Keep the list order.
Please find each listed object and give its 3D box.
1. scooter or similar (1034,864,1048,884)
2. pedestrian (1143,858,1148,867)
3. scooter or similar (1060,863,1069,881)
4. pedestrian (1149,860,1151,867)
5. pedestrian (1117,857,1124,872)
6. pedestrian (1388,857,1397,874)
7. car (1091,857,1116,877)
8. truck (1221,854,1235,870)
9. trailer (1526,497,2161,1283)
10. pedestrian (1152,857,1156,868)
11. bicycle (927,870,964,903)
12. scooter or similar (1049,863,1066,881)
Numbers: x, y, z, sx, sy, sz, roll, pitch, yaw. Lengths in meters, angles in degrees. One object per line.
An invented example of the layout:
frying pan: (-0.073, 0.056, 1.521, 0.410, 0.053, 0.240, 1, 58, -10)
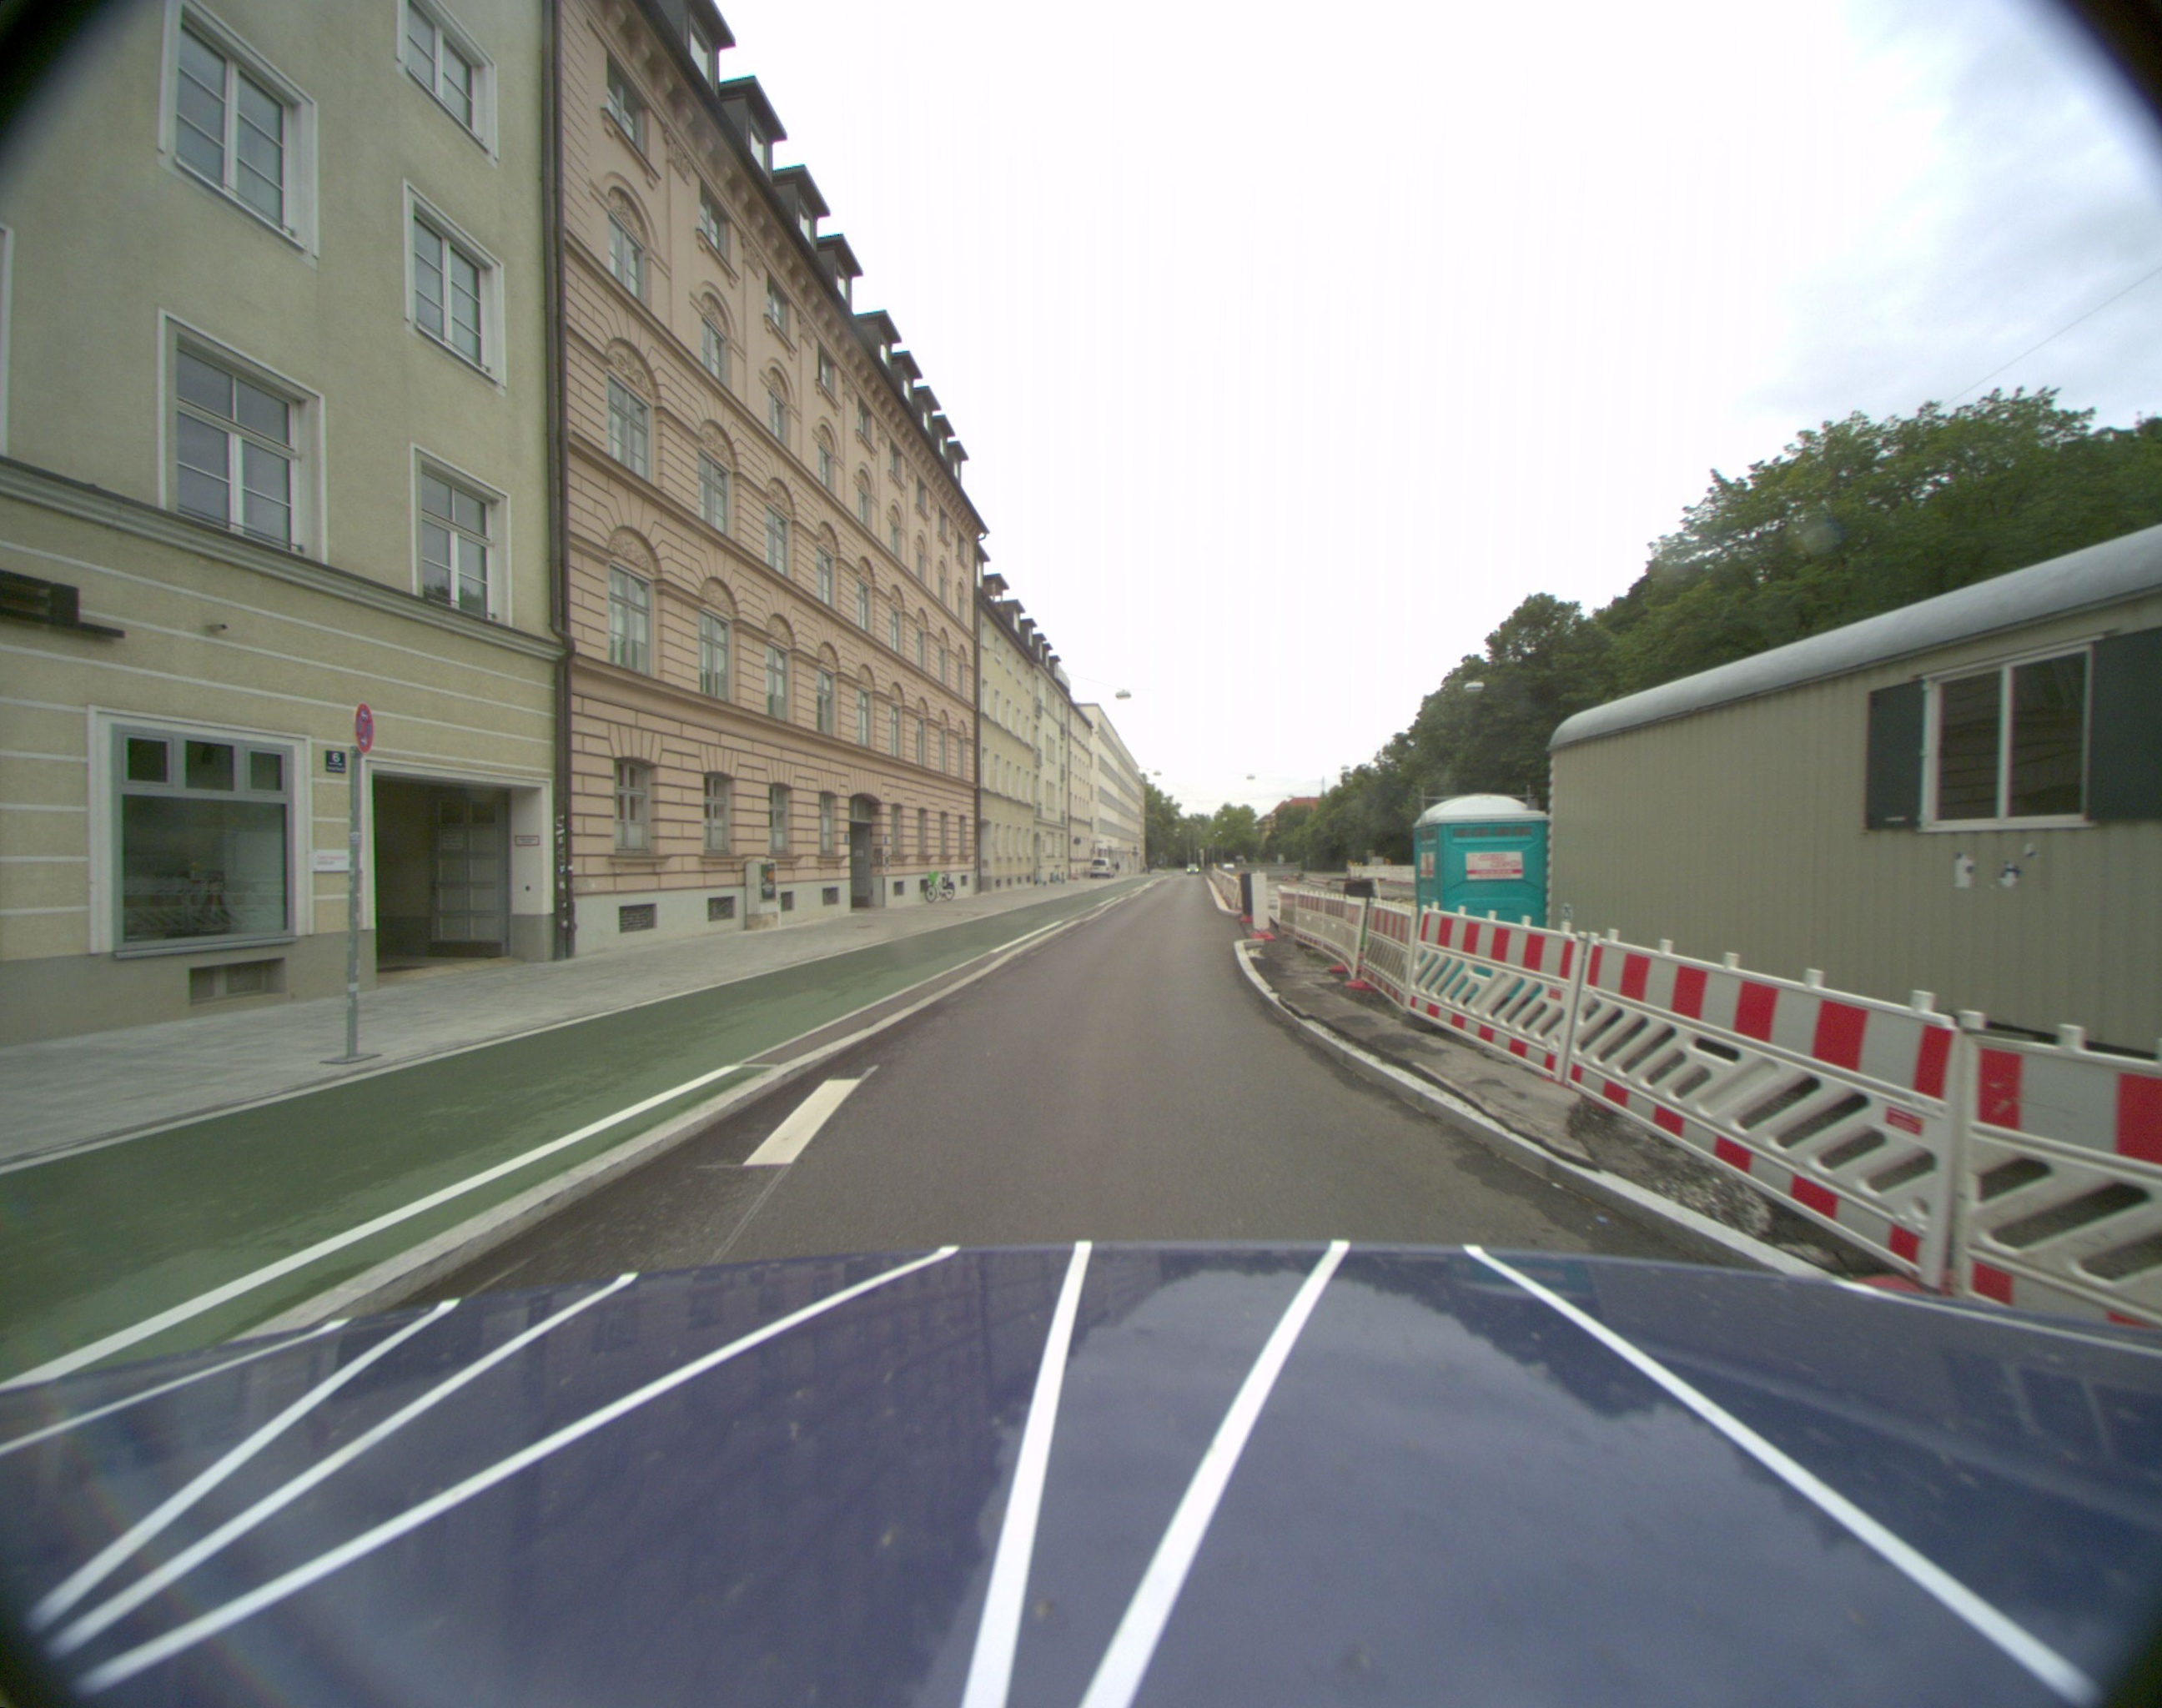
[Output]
scooter or similar: (-2.470, 1.208, 46.850, 0.246, 1.224, 1.122, 2, 1, 34)
pedestrian: (11.172, 1.452, 132.120, 0.753, 1.610, 0.704, 0, 0, 9)
scooter or similar: (-1.159, 1.250, 53.734, 0.387, 1.265, 1.120, 1, 1, 8)
pedestrian: (11.840, 1.630, 130.732, 0.367, 1.239, 0.470, 0, 0, 9)
pedestrian: (4.376, 1.169, 83.445, 0.666, 1.626, 0.738, 0, 0, 9)
pedestrian: (30.665, 1.133, 74.790, 0.664, 1.631, 0.698, -1, 0, 10)
car: (2.095, 1.135, 69.171, 1.736, 1.739, 4.439, 0, 0, 9)
truck: (25.318, 1.350, 130.668, 2.057, 2.625, 4.415, 0, 0, 7)
trailer: (5.636, 0.148, 4.341, 2.231, 3.224, 7.521, 0, 0, 4)
pedestrian: (12.549, 1.440, 130.770, 0.513, 1.825, 0.602, 0, 0, 9)
bicycle: (-5.087, 1.211, 28.683, 0.426, 1.167, 1.734, 0, 0, 26)
scooter or similar: (-1.624, 1.232, 51.603, 1.121, 1.224, 0.246, 1, 1, -24)
